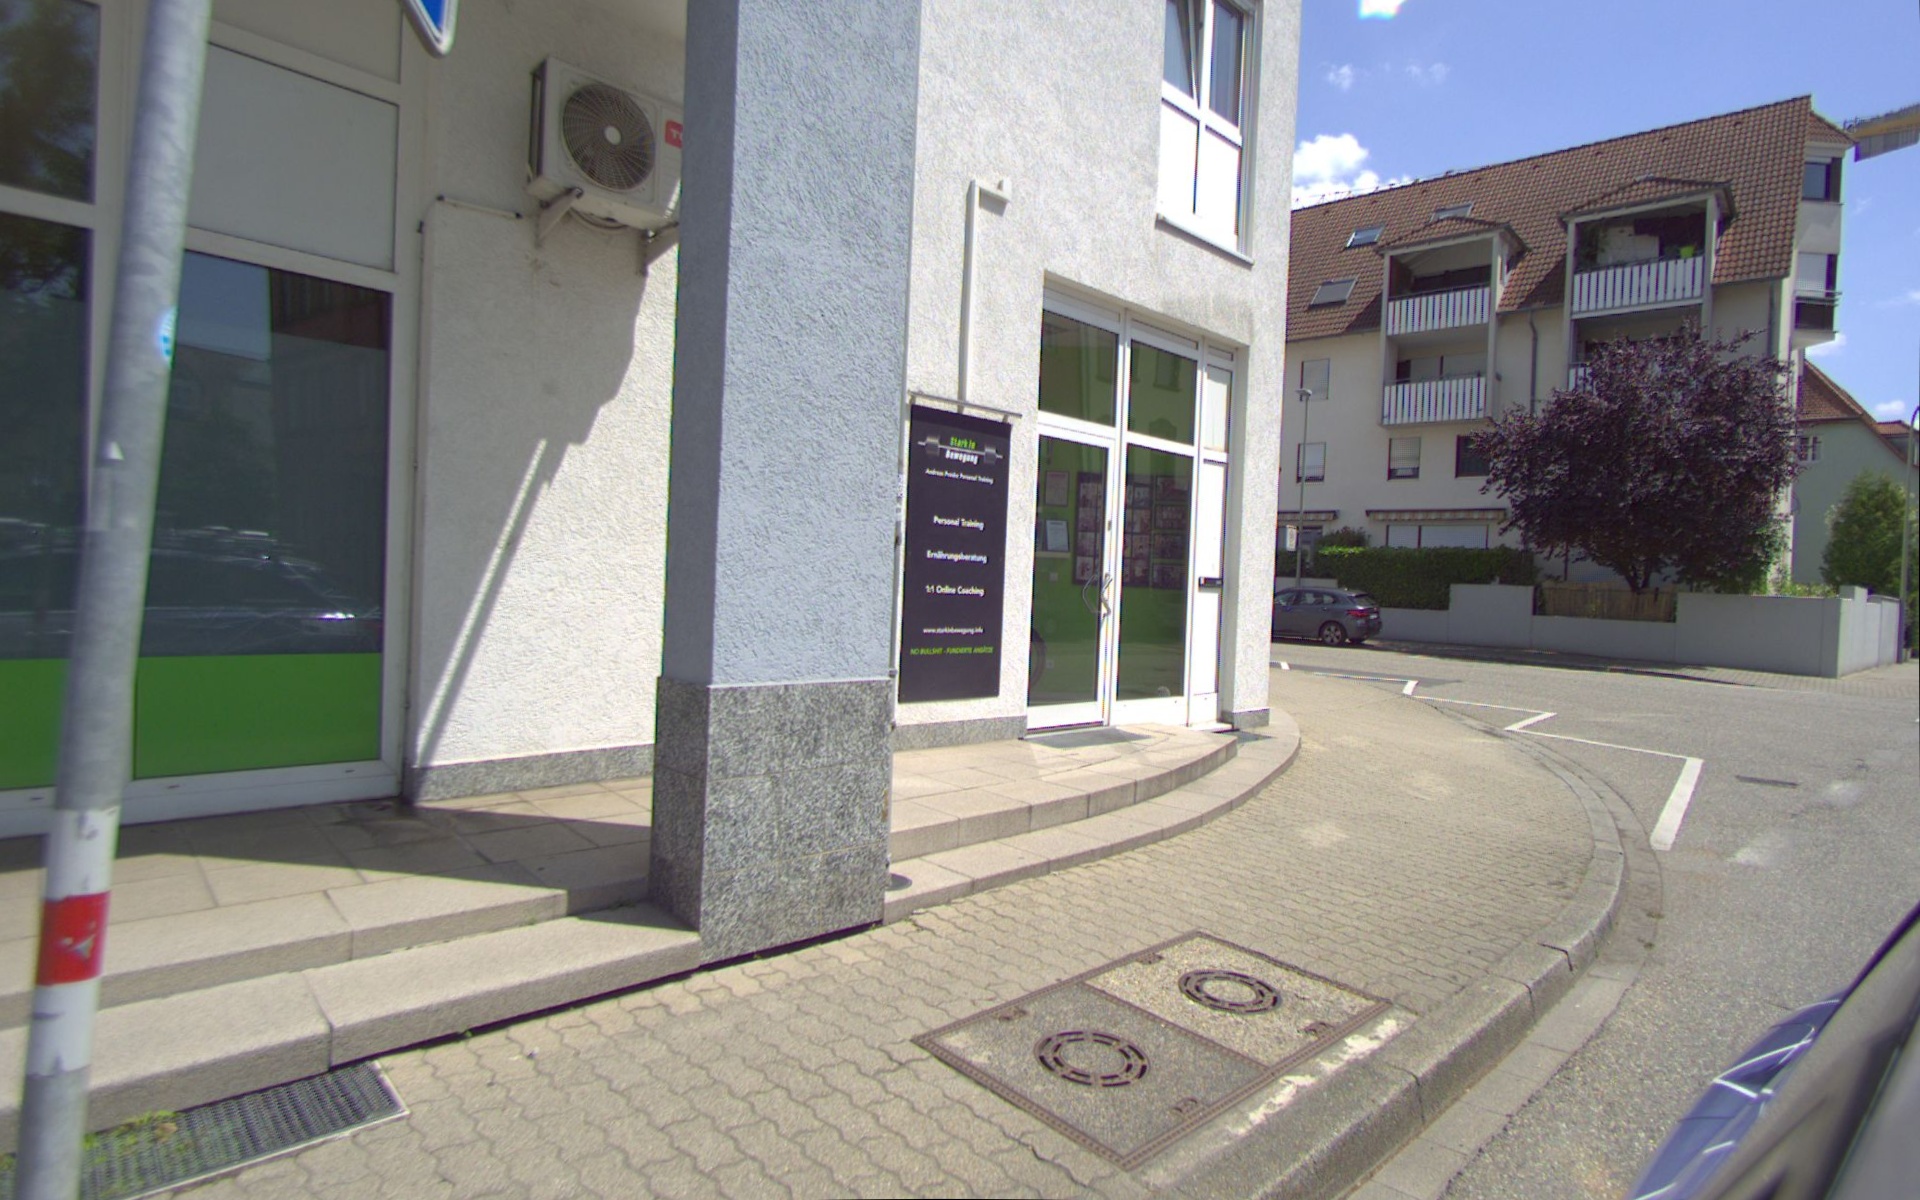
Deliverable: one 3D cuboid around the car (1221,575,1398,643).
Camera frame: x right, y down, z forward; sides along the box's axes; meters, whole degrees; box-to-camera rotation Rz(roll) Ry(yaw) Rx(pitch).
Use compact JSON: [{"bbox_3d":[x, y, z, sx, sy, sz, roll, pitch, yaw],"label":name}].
[{"bbox_3d":[9.055,0.184,26.426,3.987,1.486,1.711,4,3,43],"label":"car"}]
